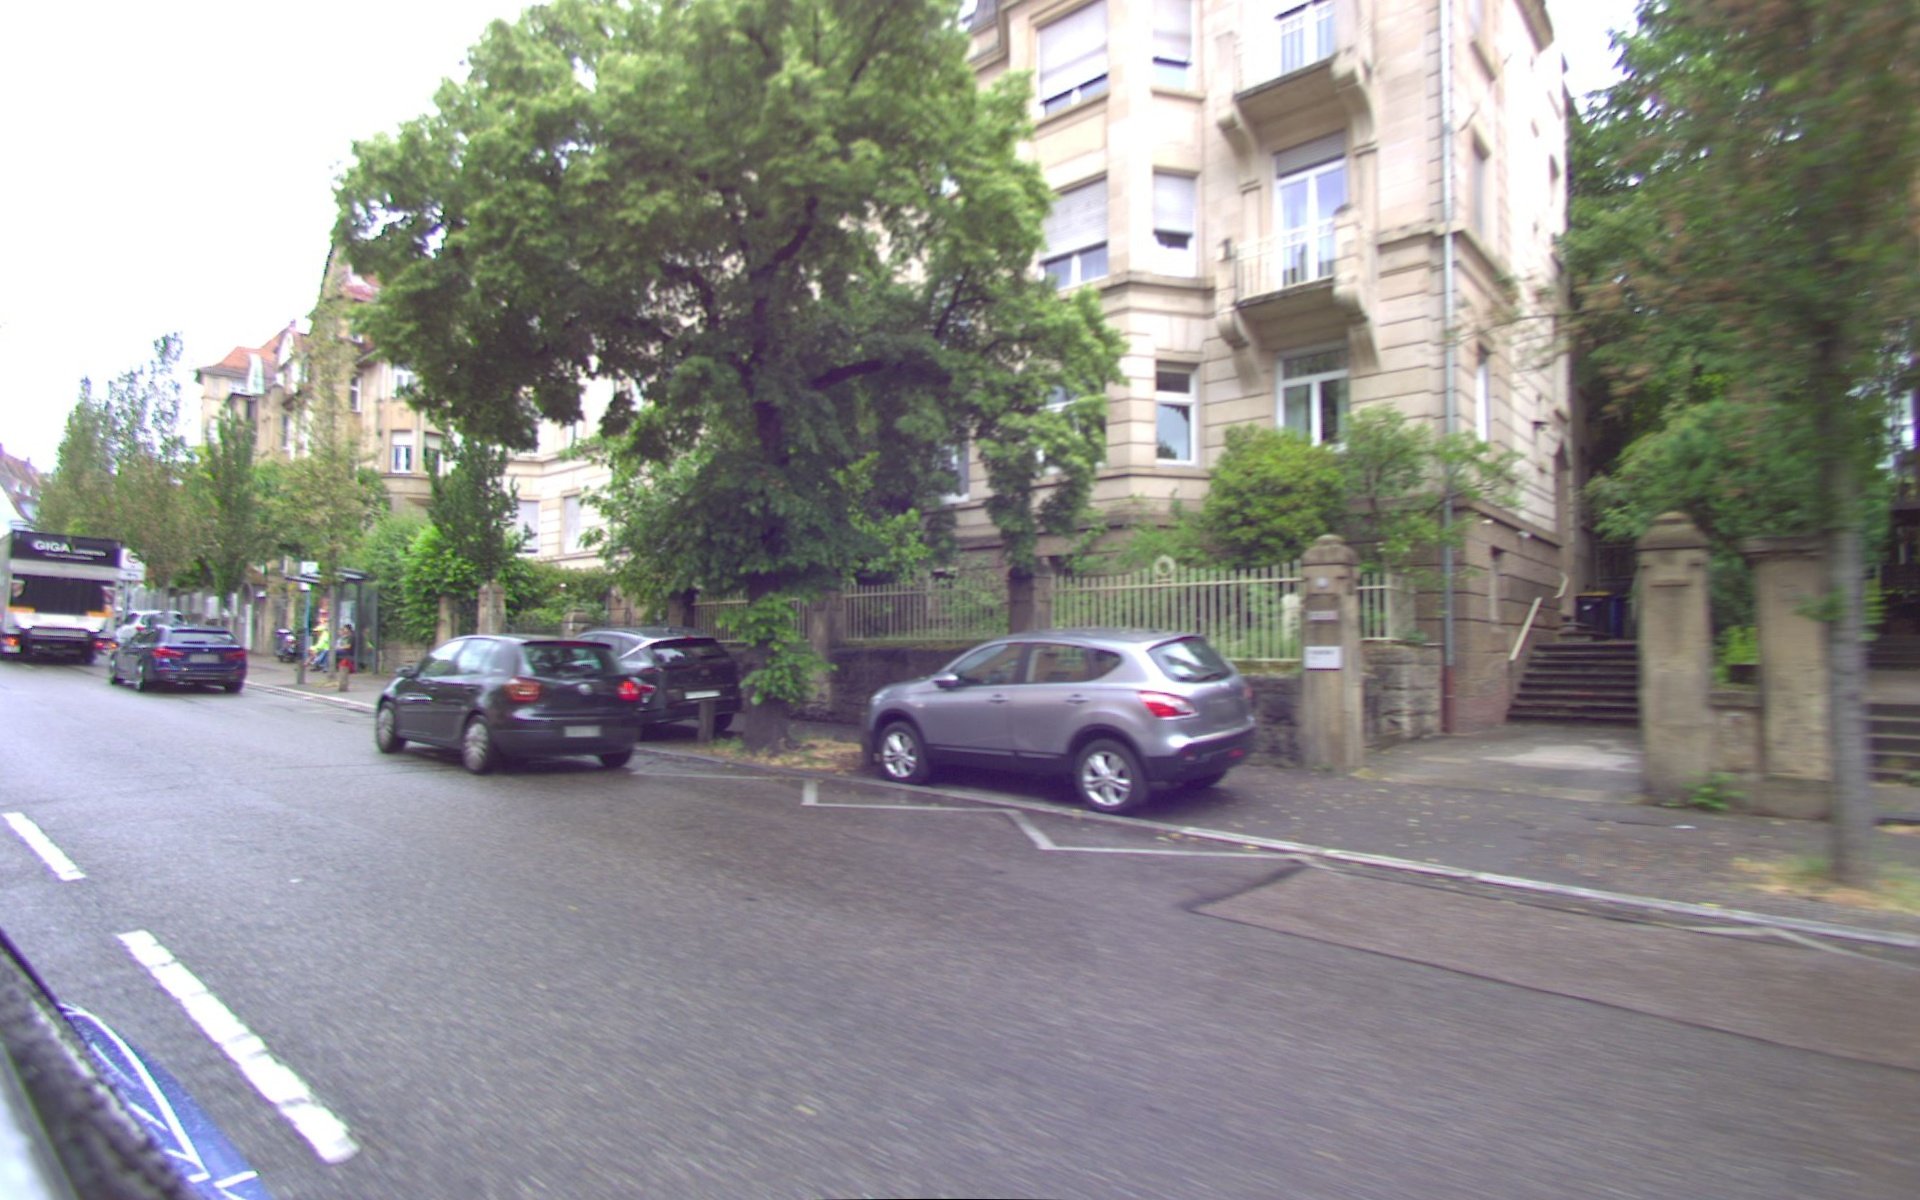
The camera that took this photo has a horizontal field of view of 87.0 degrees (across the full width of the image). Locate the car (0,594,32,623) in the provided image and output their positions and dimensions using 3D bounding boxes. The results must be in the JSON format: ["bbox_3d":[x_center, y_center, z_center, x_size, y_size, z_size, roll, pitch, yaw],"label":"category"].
[{"bbox_3d":[-55.647,0.466,59.308,1.723,1.529,3.873,7,-3,-43],"label":"car"}]

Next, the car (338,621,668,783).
[{"bbox_3d":[-5.539,1.059,11.977,4.588,1.529,1.754,0,-3,41],"label":"car"}]

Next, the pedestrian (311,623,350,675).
[{"bbox_3d":[-18.045,1.409,29.030,0.649,1.443,0.758,0,-2,43],"label":"pedestrian"}]

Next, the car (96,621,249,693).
[{"bbox_3d":[-17.922,1.260,22.945,4.744,1.479,1.754,-1,-4,41],"label":"car"}]

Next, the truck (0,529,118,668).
[{"bbox_3d":[-29.576,0.033,32.563,9.310,3.884,2.618,0,-4,44],"label":"truck"}]

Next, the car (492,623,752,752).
[{"bbox_3d":[-5.259,1.207,15.492,4.297,1.571,1.725,0,1,38],"label":"car"}]

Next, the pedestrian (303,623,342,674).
[{"bbox_3d":[-18.526,1.393,29.424,0.649,1.443,0.758,0,-2,43],"label":"pedestrian"}]

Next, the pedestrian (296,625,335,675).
[{"bbox_3d":[-18.986,1.462,29.812,0.759,1.443,0.758,0,-2,42],"label":"pedestrian"}]

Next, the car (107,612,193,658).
[{"bbox_3d":[-30.833,1.288,38.486,4.298,1.571,1.724,0,0,39],"label":"car"}]

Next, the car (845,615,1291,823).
[{"bbox_3d":[0.907,0.979,10.176,4.302,1.571,1.722,0,0,43],"label":"car"}]

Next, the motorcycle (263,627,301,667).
[{"bbox_3d":[-22.336,1.524,33.330,1.763,1.246,0.648,0,-2,45],"label":"motorcycle"}]
